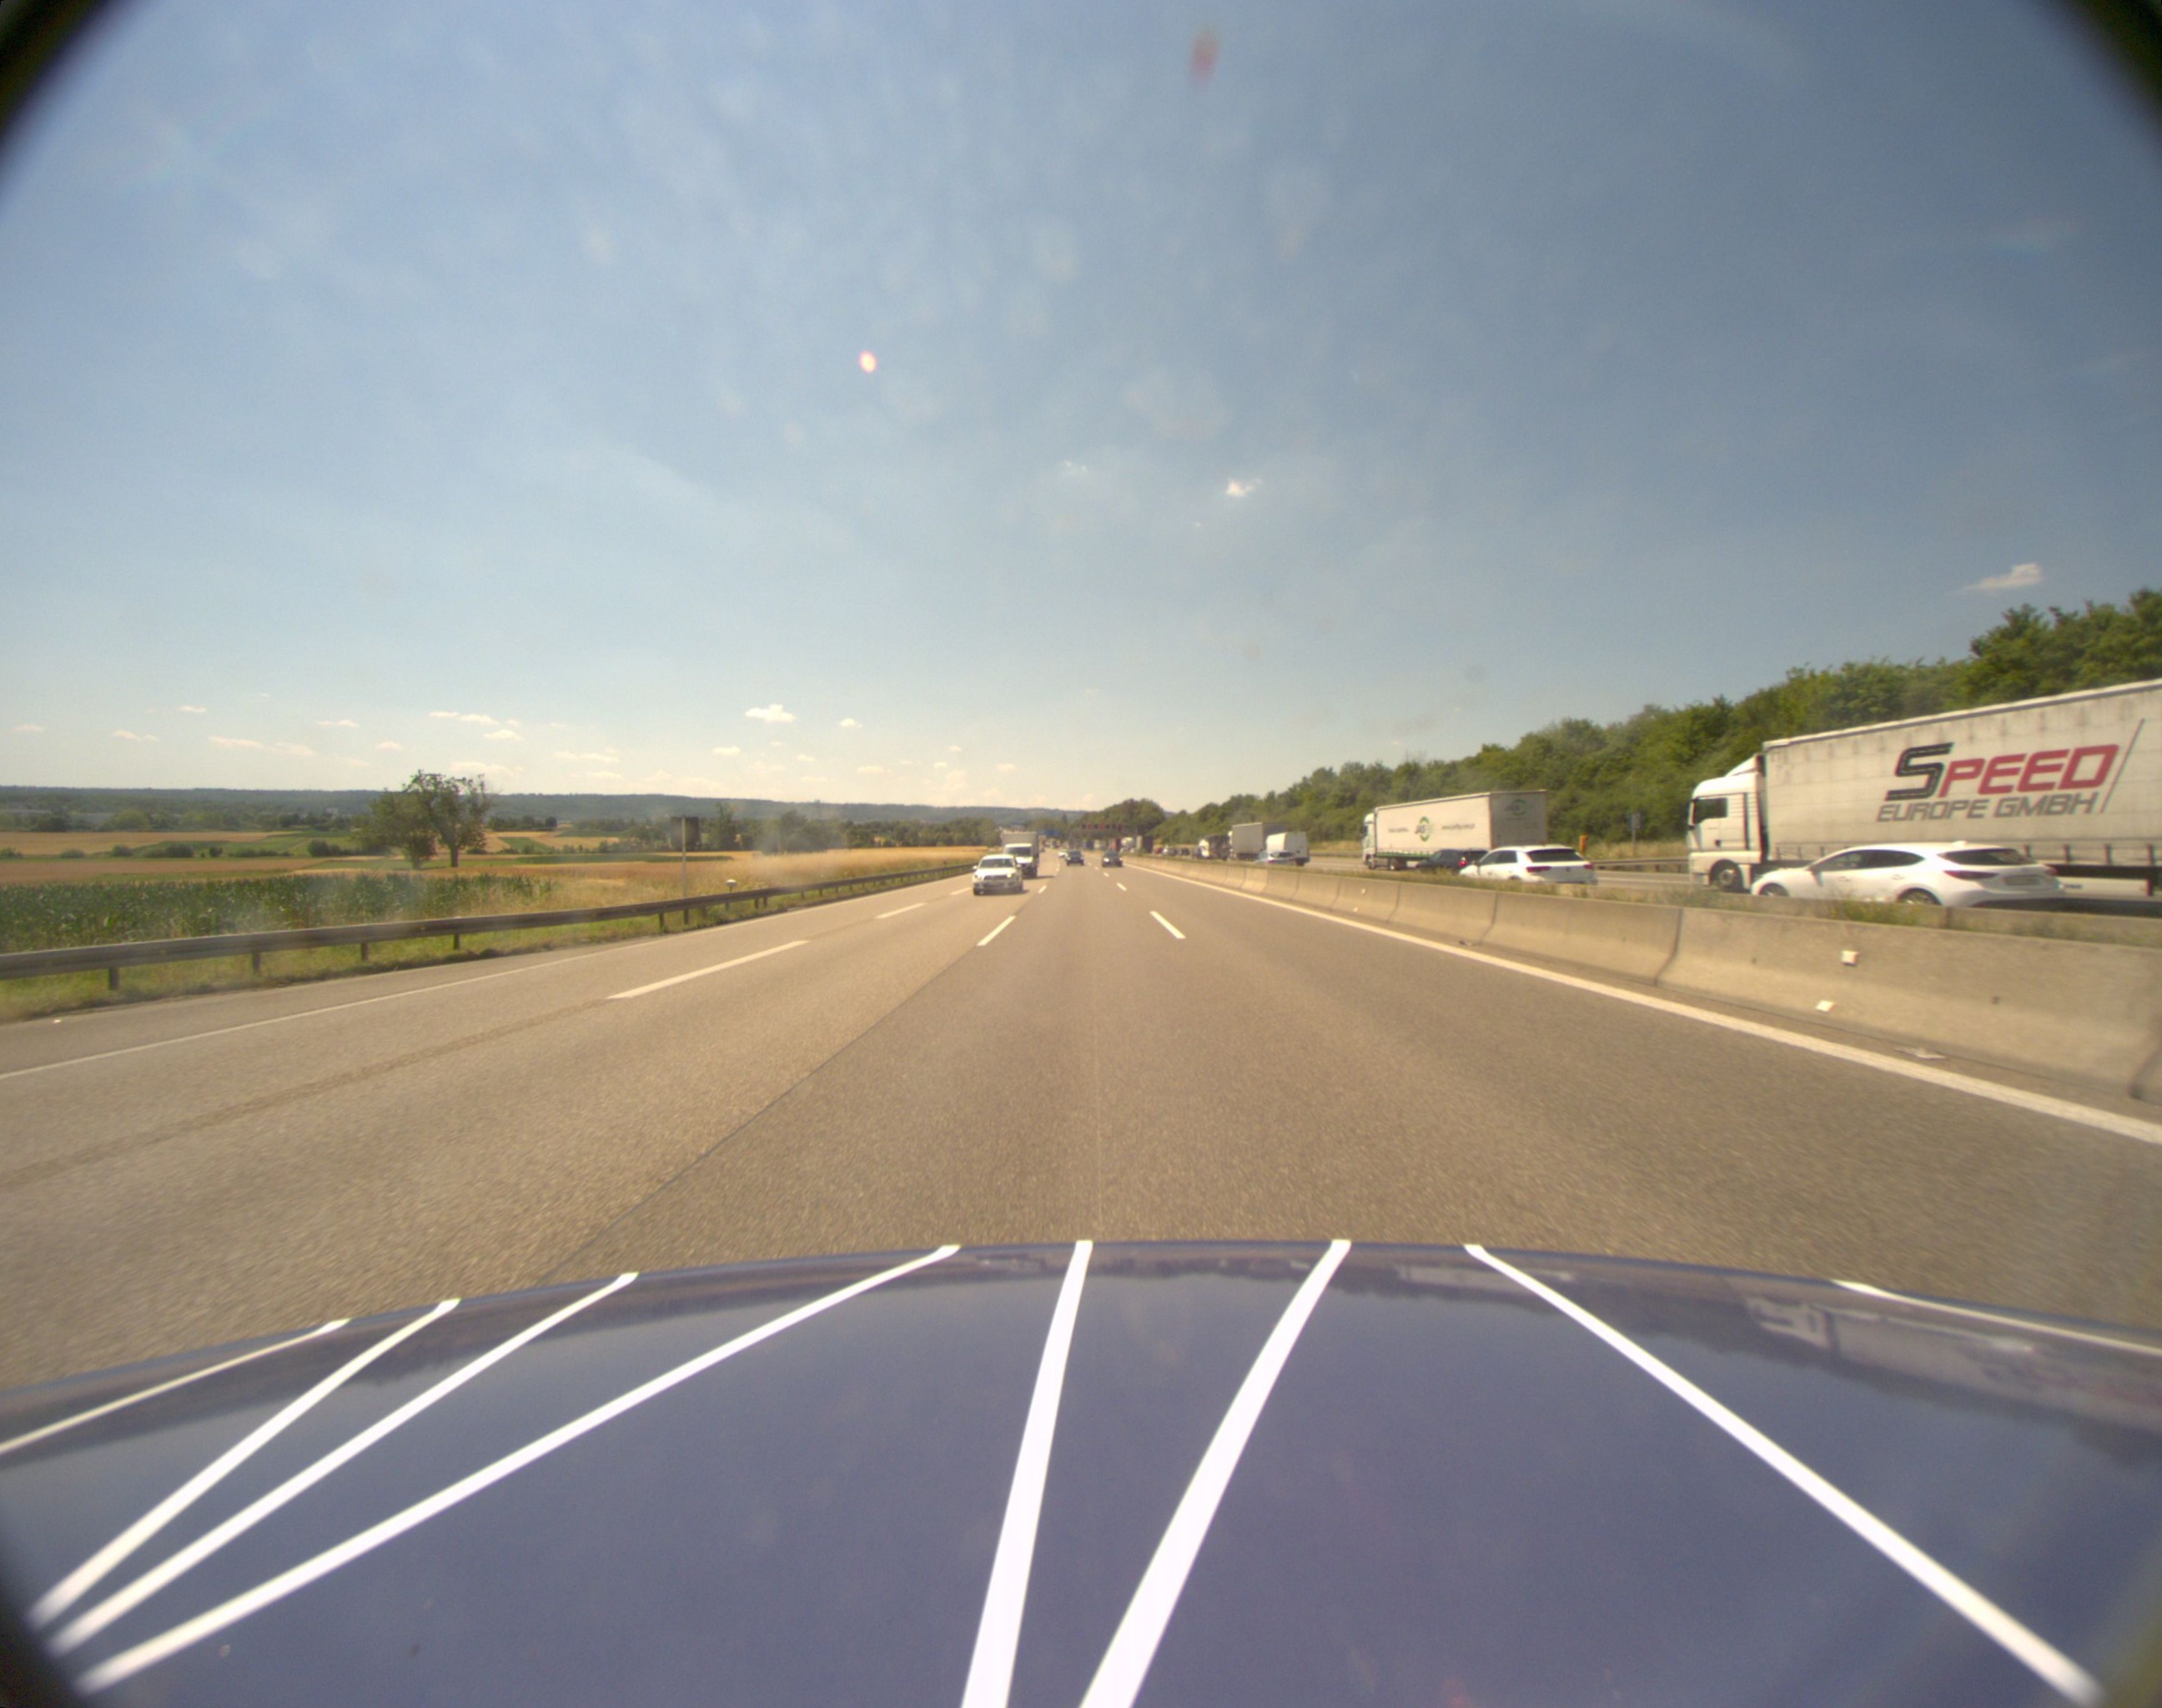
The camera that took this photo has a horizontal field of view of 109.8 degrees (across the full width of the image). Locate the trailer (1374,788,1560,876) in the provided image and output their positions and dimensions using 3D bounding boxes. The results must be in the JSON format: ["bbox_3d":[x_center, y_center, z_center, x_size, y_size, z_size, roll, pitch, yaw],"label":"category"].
[{"bbox_3d":[19.775,-1.056,40.577,2.910,3.851,13.874,-2,1,0],"label":"trailer"}]

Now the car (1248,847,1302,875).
[{"bbox_3d":[11.657,0.380,45.980,1.999,1.569,4.594,-2,1,0],"label":"car"}]

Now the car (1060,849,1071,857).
[{"bbox_3d":[-2.920,-0.196,142.032,1.999,1.467,3.998,-2,2,-2],"label":"car"}]

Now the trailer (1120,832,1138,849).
[{"bbox_3d":[12.467,-3.651,197.737,2.945,4.141,14.164,-2,1,-3],"label":"trailer"}]

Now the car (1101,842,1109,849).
[{"bbox_3d":[7.122,-2.630,229.449,1.962,2.018,4.542,-1,1,-4],"label":"car"}]

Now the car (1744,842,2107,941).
[{"bbox_3d":[15.201,0.561,14.159,1.886,1.466,4.405,-2,1,0],"label":"car"}]

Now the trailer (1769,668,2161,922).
[{"bbox_3d":[19.502,-1.030,13.084,2.818,4.253,13.867,-2,0,1],"label":"trailer"}]

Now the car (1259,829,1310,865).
[{"bbox_3d":[15.671,-0.558,59.047,1.902,2.559,7.571,-2,1,0],"label":"car"}]

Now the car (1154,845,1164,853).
[{"bbox_3d":[15.843,-1.048,155.210,1.751,1.396,4.211,-1,1,2],"label":"car"}]

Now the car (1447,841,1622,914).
[{"bbox_3d":[11.732,0.509,20.074,1.999,1.634,4.405,-2,1,0],"label":"car"}]

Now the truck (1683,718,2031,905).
[{"bbox_3d":[19.506,-0.947,19.780,2.762,4.019,6.098,-2,1,0],"label":"truck"}]

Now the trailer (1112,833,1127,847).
[{"bbox_3d":[11.190,-4.085,224.119,2.947,4.087,14.077,-1,1,-3],"label":"trailer"}]

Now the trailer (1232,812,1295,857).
[{"bbox_3d":[19.447,-2.055,82.351,3.230,4.396,13.775,-1,1,-1],"label":"trailer"}]

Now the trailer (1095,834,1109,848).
[{"bbox_3d":[7.346,-4.570,264.933,3.364,4.549,13.640,-2,1,-4],"label":"trailer"}]

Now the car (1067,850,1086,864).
[{"bbox_3d":[-0.548,0.321,82.930,1.866,1.426,3.998,-1,1,-3],"label":"car"}]

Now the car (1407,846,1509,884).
[{"bbox_3d":[15.883,0.420,32.339,1.881,1.425,4.924,-2,1,0],"label":"car"}]

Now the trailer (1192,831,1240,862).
[{"bbox_3d":[14.972,-0.924,85.142,2.877,3.165,10.724,-2,1,-3],"label":"trailer"}]

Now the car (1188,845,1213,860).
[{"bbox_3d":[14.566,-0.235,92.878,2.113,1.713,4.929,-1,1,-3],"label":"car"}]

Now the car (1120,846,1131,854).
[{"bbox_3d":[9.541,-0.875,163.244,1.999,1.512,5.149,-1,1,-3],"label":"car"}]

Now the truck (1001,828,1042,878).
[{"bbox_3d":[-3.893,-0.138,50.629,2.446,3.011,6.913,-2,1,-3],"label":"truck"}]

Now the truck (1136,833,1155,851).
[{"bbox_3d":[14.651,-2.716,173.450,3.017,3.894,10.351,-1,1,-2],"label":"truck"}]

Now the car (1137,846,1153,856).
[{"bbox_3d":[10.241,-0.521,121.805,1.999,1.512,4.305,-1,1,-3],"label":"car"}]

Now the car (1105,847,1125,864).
[{"bbox_3d":[3.199,0.156,72.362,1.807,1.534,4.751,-1,-1,1],"label":"car"}]

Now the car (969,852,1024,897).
[{"bbox_3d":[-3.496,0.808,32.247,1.837,1.636,4.171,-2,1,-1],"label":"car"}]

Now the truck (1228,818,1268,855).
[{"bbox_3d":[19.357,-2.045,88.417,3.208,4.109,6.181,-1,1,-1],"label":"truck"}]

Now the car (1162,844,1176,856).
[{"bbox_3d":[13.482,-0.650,116.380,1.846,1.667,4.441,-1,1,3],"label":"car"}]

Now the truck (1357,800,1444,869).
[{"bbox_3d":[19.757,-1.179,47.412,2.855,3.984,5.973,-2,1,0],"label":"truck"}]

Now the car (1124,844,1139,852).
[{"bbox_3d":[9.063,-1.081,136.767,1.999,1.436,4.790,-2,1,-3],"label":"car"}]

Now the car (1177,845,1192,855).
[{"bbox_3d":[17.339,-0.633,127.248,1.998,1.512,4.307,-1,1,2],"label":"car"}]
